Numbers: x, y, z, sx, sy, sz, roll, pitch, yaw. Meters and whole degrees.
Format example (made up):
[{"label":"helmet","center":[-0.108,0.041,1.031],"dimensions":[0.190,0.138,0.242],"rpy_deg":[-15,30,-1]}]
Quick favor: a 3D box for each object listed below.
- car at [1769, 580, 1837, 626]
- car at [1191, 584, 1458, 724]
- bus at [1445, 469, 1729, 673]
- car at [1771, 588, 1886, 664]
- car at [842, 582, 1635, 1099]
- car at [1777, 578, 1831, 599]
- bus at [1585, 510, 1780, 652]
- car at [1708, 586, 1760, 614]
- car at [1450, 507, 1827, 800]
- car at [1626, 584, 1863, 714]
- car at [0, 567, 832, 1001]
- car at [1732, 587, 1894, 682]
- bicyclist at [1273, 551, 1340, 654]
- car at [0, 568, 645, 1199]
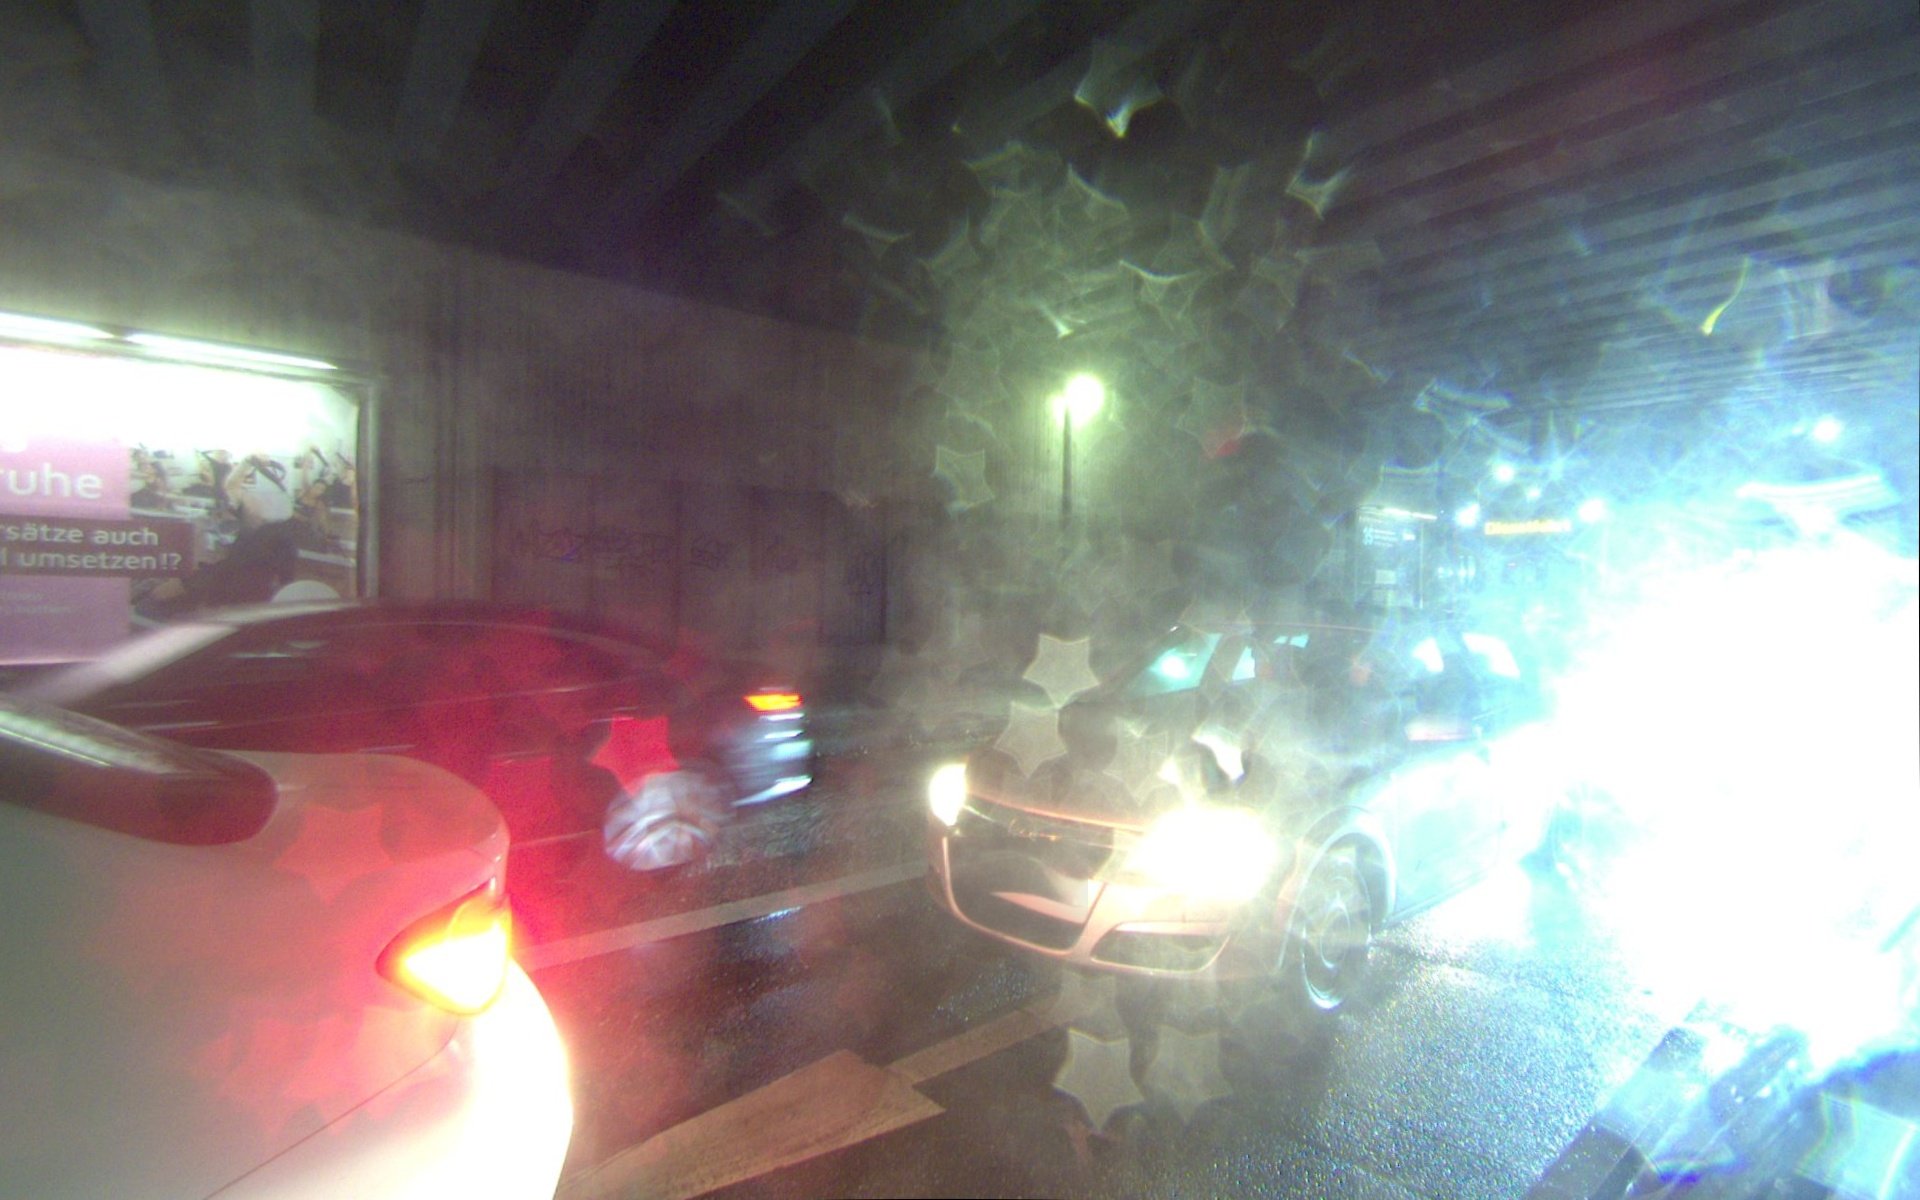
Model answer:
[{"label":"car","center":[31.327,0.096,37.584],"dimensions":[1.737,1.610,3.938],"rpy_deg":[0,0,43]},{"label":"car","center":[4.645,0.557,12.637],"dimensions":[1.751,1.449,3.700],"rpy_deg":[2,1,44]},{"label":"bus","center":[12.826,-0.450,20.159],"dimensions":[2.770,3.163,9.604],"rpy_deg":[0,0,45]},{"label":"car","center":[18.860,0.497,21.928],"dimensions":[1.678,1.490,3.937],"rpy_deg":[0,0,44]},{"label":"car","center":[1.575,0.650,4.831],"dimensions":[3.931,1.384,1.791],"rpy_deg":[-2,2,-41]},{"label":"car","center":[65.690,-0.882,78.834],"dimensions":[1.800,1.625,4.118],"rpy_deg":[0,0,19]},{"label":"bus","center":[19.506,-0.414,26.984],"dimensions":[2.770,3.163,9.604],"rpy_deg":[0,0,45]},{"label":"car","center":[42.711,0.002,55.908],"dimensions":[1.868,1.490,3.954],"rpy_deg":[0,0,32]},{"label":"car","center":[6.487,0.360,9.479],"dimensions":[4.274,2.115,1.996],"rpy_deg":[-1,0,-43]},{"label":"car","center":[10.752,0.550,13.801],"dimensions":[3.701,1.531,1.867],"rpy_deg":[-1,0,-41]},{"label":"car","center":[-2.921,0.600,4.720],"dimensions":[4.492,1.408,1.752],"rpy_deg":[1,0,-45]},{"label":"car","center":[15.348,0.530,18.152],"dimensions":[3.930,1.522,1.628],"rpy_deg":[-1,0,-41]},{"label":"bicyclist","center":[6.199,0.032,18.103],"dimensions":[0.885,1.784,0.798],"rpy_deg":[0,0,-41]},{"label":"car","center":[-2.701,0.685,0.971],"dimensions":[4.273,1.422,1.719],"rpy_deg":[-1,0,-41]}]
